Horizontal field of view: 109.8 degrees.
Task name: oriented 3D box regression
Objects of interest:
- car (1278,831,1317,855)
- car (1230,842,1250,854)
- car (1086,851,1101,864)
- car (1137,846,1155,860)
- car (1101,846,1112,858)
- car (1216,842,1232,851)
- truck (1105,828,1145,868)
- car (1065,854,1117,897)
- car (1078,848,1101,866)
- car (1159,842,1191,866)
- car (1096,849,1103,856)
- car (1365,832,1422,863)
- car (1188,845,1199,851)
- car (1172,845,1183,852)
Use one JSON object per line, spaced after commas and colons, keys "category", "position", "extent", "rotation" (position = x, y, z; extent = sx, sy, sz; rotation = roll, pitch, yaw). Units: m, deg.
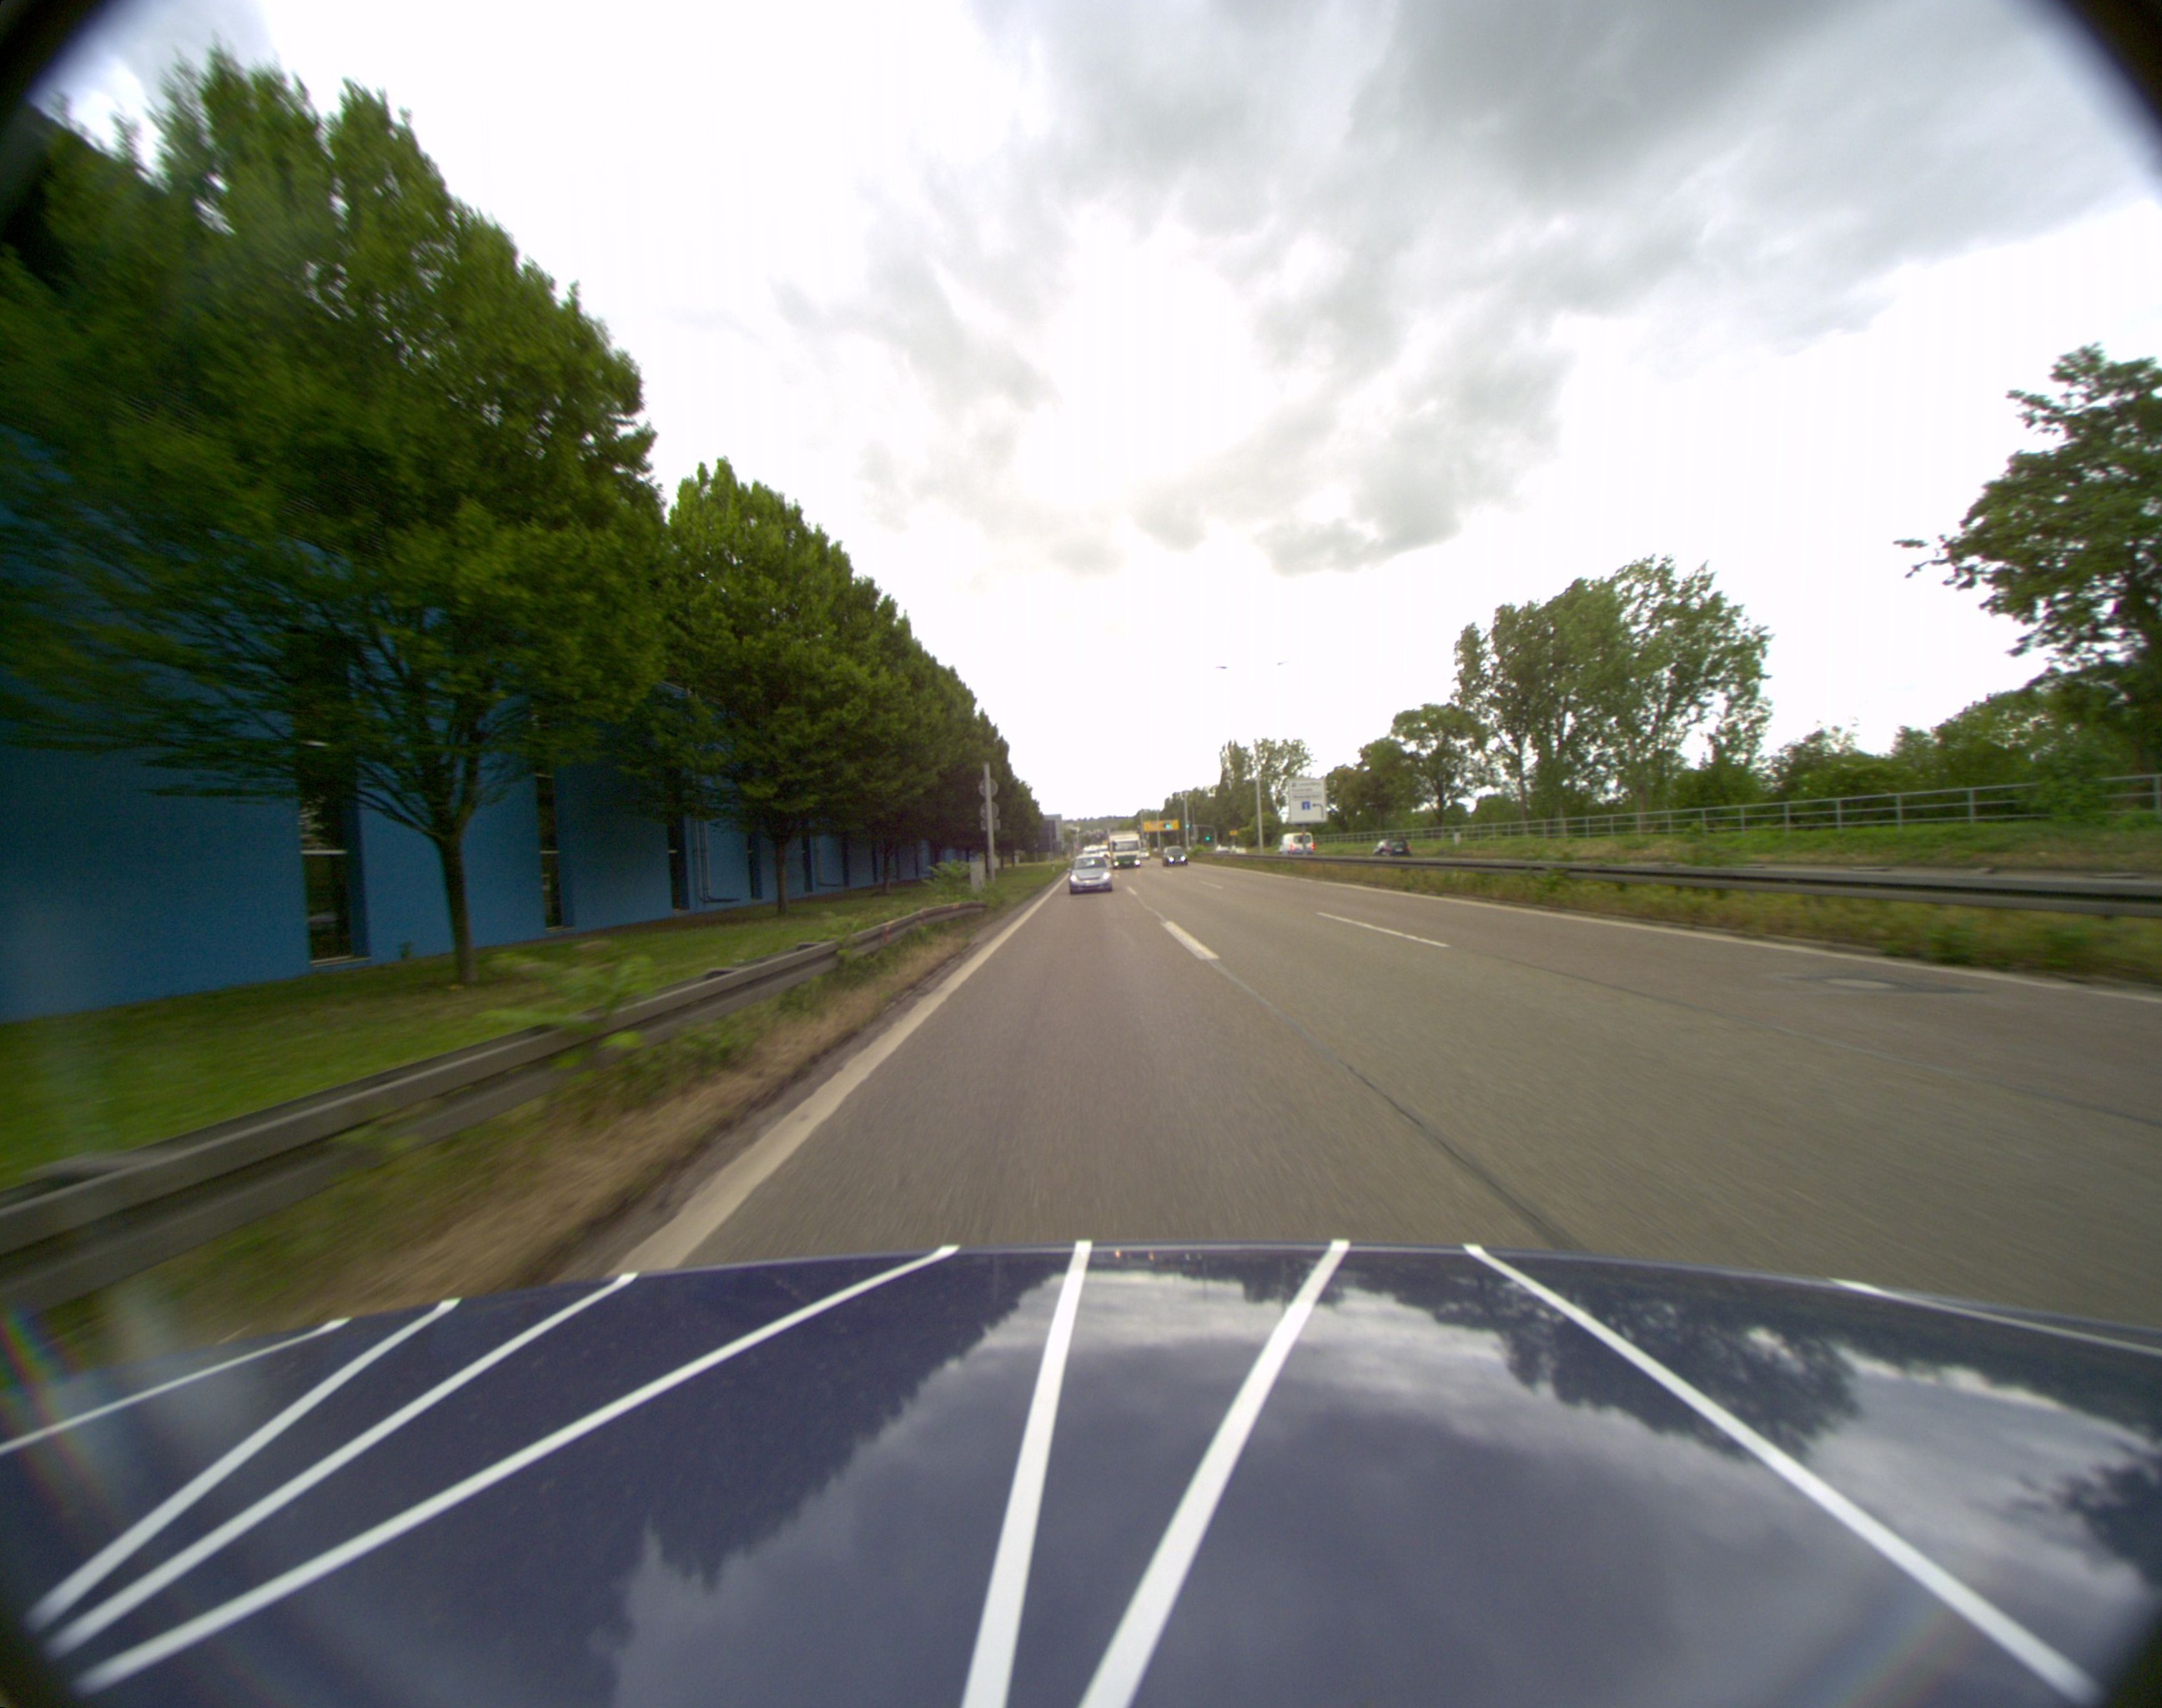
{"category": "car", "position": [19.941, -0.996, 70.341], "extent": [2.231, 1.936, 5.474], "rotation": [-3, 0, 3]}
{"category": "car", "position": [20.258, -0.782, 96.704], "extent": [1.663, 1.390, 3.989], "rotation": [-4, 0, 1]}
{"category": "car", "position": [1.765, 0.453, 108.025], "extent": [1.883, 1.714, 4.146], "rotation": [-4, 0, 0]}
{"category": "car", "position": [8.293, -0.139, 97.523], "extent": [1.883, 1.714, 4.146], "rotation": [-4, 0, 0]}
{"category": "car", "position": [4.976, -0.420, 150.769], "extent": [1.949, 2.176, 4.000], "rotation": [-4, 0, 0]}
{"category": "car", "position": [24.515, -1.299, 130.646], "extent": [1.883, 1.481, 4.202], "rotation": [-4, 0, 1]}
{"category": "truck", "position": [3.803, -0.442, 68.848], "extent": [2.657, 3.121, 12.508], "rotation": [-4, 0, 0]}
{"category": "car", "position": [0.386, 0.835, 31.190], "extent": [1.883, 1.530, 4.146], "rotation": [-4, 0, 0]}
{"category": "car", "position": [0.789, 0.300, 70.200], "extent": [1.949, 1.516, 4.000], "rotation": [-4, 0, 0]}
{"category": "car", "position": [7.357, 0.028, 59.606], "extent": [1.883, 1.714, 4.146], "rotation": [-4, 0, 0]}
{"category": "car", "position": [5.667, -0.520, 232.034], "extent": [1.949, 1.810, 4.001], "rotation": [-2, -1, 0]}
{"category": "car", "position": [19.203, -0.366, 46.889], "extent": [1.883, 1.714, 4.147], "rotation": [-4, 0, 3]}
{"category": "car", "position": [24.351, -1.315, 164.999], "extent": [1.664, 1.291, 4.788], "rotation": [-4, 0, 0]}
{"category": "car", "position": [20.442, -1.167, 160.534], "extent": [1.664, 1.291, 4.788], "rotation": [-4, 0, 0]}
